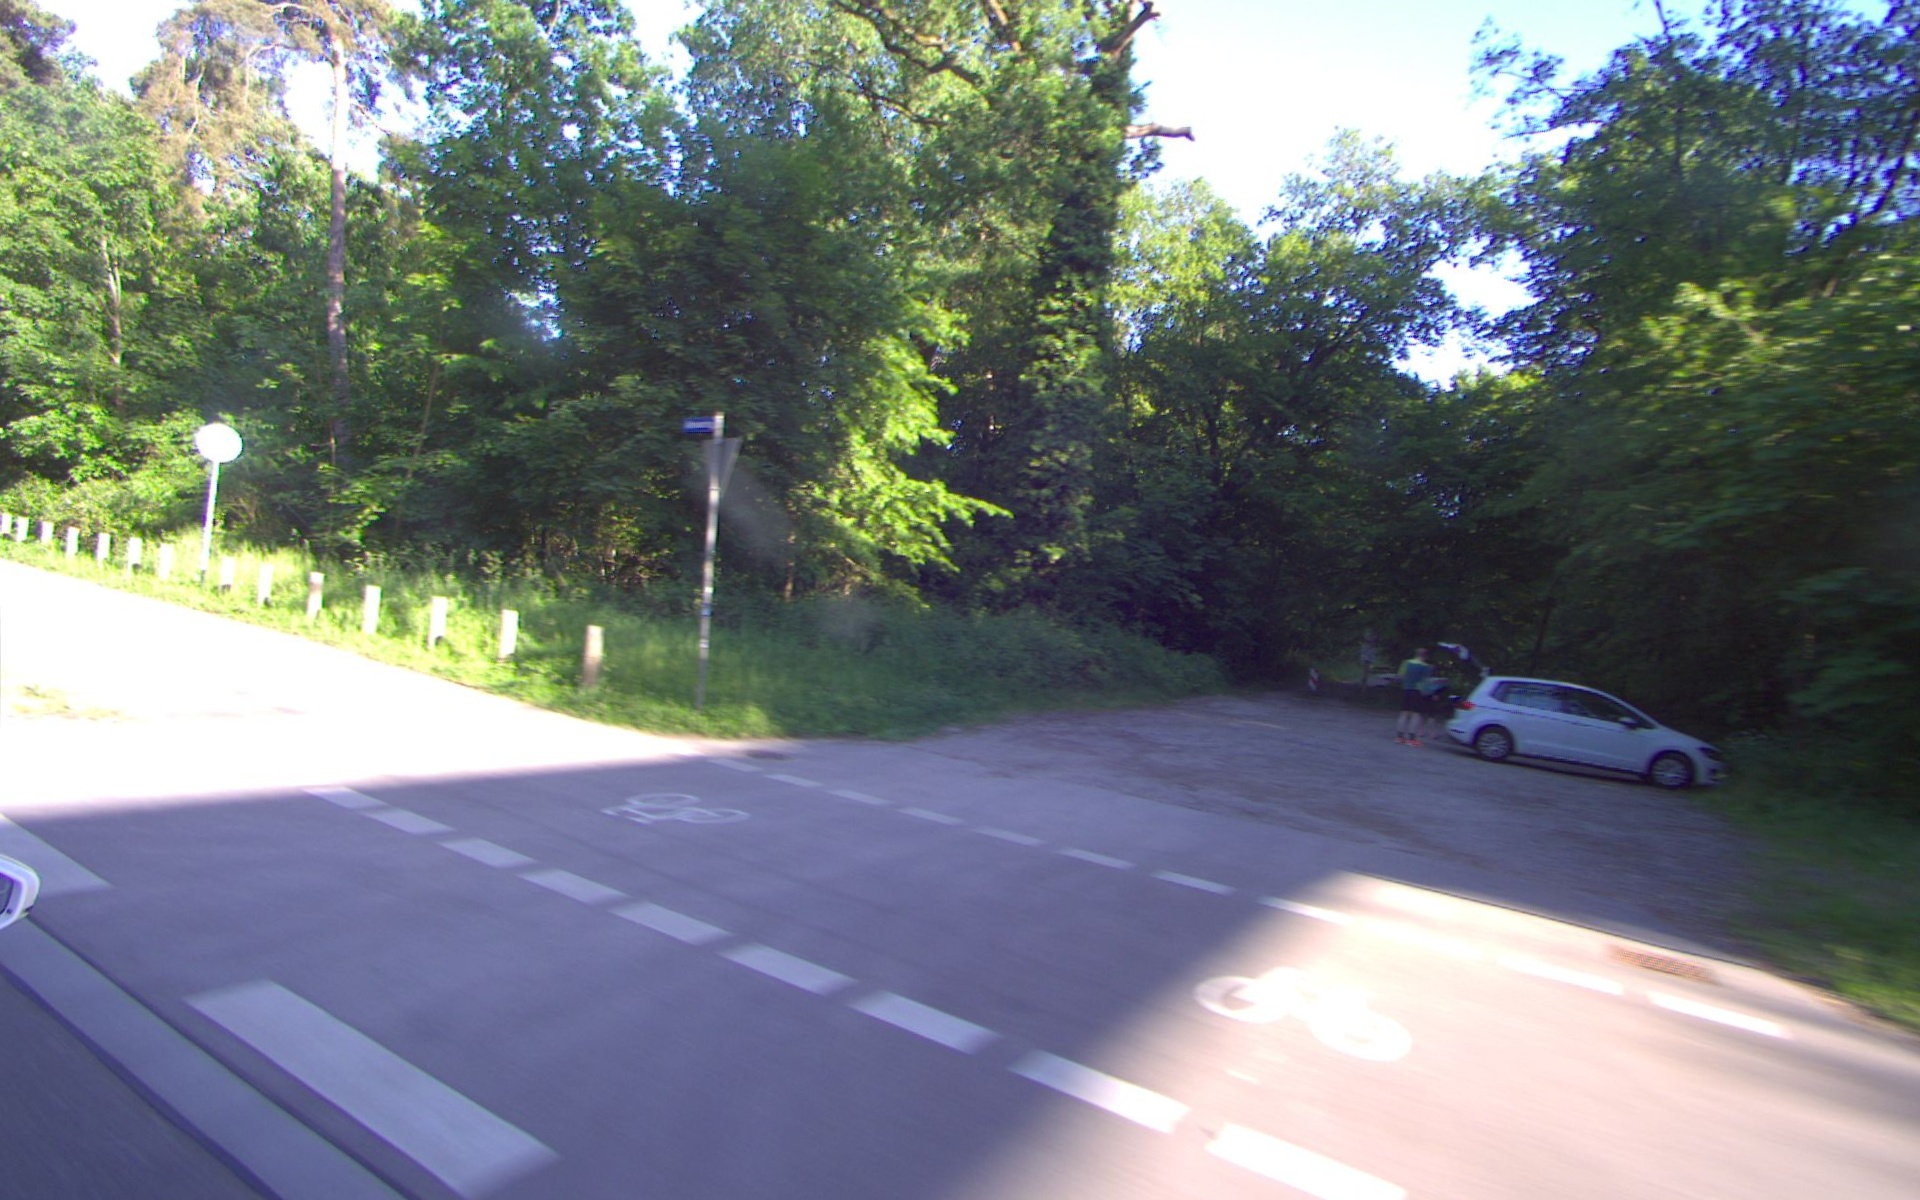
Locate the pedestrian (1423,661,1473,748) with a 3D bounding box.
[{"bbox_3d":[10.709,2.275,22.111,0.748,1.788,0.666,7,1,22],"label":"pedestrian"}]

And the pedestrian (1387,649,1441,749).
[{"bbox_3d":[8.731,1.885,19.348,0.748,1.788,0.665,7,1,25],"label":"pedestrian"}]

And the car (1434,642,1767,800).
[{"bbox_3d":[11.227,2.085,18.119,4.672,2.036,2.000,6,-2,26],"label":"car"}]
